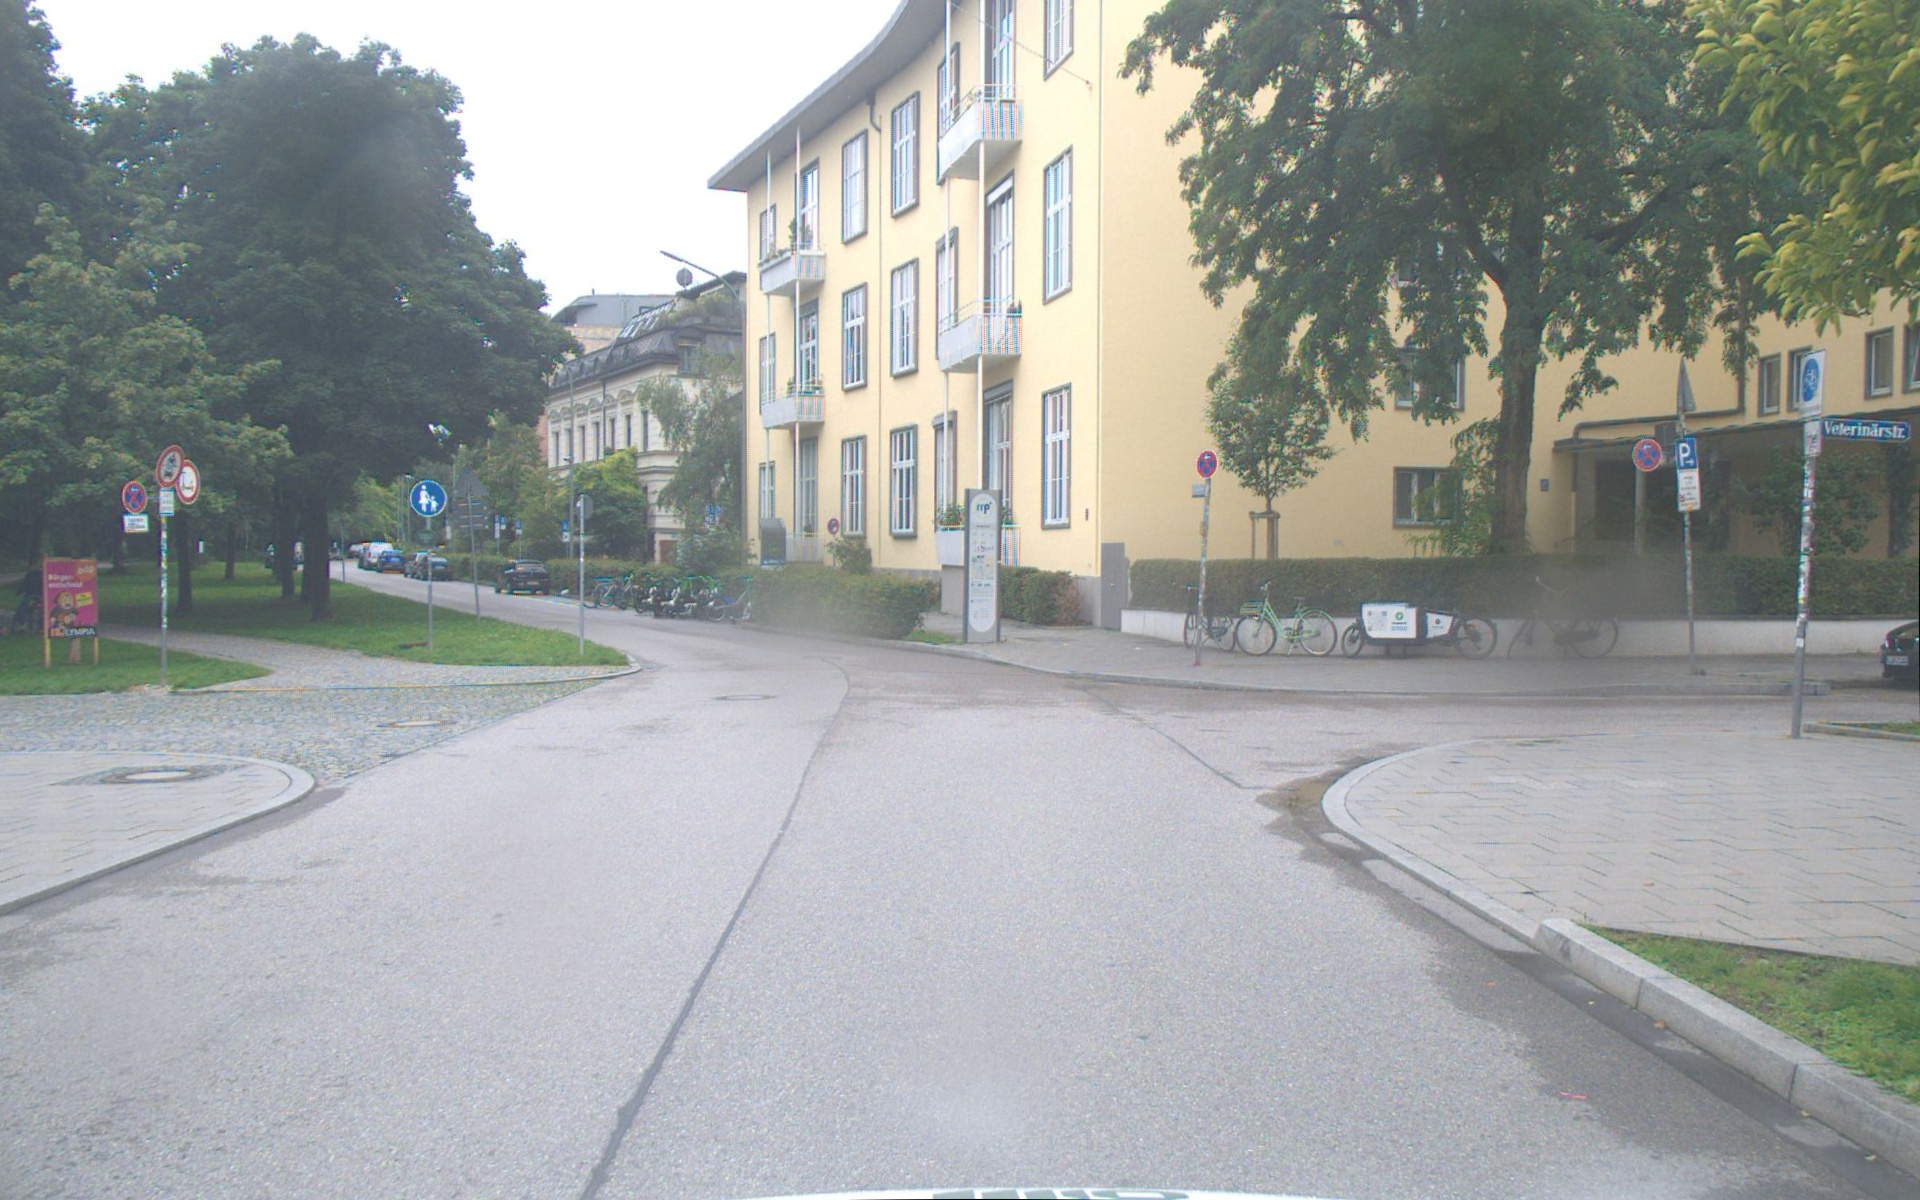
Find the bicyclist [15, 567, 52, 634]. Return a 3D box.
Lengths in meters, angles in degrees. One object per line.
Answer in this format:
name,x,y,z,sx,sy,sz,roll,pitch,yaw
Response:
bicyclist,-20.811,0.012,37.145,0.624,1.486,0.636,0,1,-39

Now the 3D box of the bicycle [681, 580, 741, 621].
bicycle,-7.027,-0.003,46.795,0.565,1.104,1.929,0,2,31

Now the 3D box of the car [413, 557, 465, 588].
car,-29.313,-1.559,92.967,2.149,1.686,4.469,-1,1,-26

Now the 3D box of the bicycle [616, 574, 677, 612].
bicycle,-9.584,-0.224,50.604,0.747,1.104,2.140,0,2,24

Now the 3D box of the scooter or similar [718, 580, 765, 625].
scooter or similar,-5.702,0.048,43.280,0.485,1.128,1.408,0,2,28

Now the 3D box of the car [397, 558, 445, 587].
car,-32.094,-1.644,98.452,2.149,1.686,4.469,-1,1,-26

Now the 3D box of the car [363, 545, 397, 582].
car,-42.098,-2.636,120.009,1.852,2.612,4.892,-1,1,-25

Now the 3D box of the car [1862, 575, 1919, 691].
car,13.971,0.382,21.242,3.894,1.460,1.606,-1,0,1

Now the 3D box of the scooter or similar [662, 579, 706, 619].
scooter or similar,-7.955,-0.031,47.732,0.485,1.107,1.408,0,2,28

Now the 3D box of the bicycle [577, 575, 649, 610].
bicycle,-11.835,-0.262,56.383,2.307,1.104,0.685,-2,2,-31

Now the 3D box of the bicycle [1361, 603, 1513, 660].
bicycle,7.186,0.461,24.943,2.164,0.792,0.610,1,1,20

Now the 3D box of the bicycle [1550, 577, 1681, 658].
bicycle,9.744,0.251,24.624,1.698,1.170,0.610,0,1,4

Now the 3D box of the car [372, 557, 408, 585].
car,-38.384,-1.937,111.364,1.852,1.847,3.968,-1,1,-25

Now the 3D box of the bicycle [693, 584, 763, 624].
bicycle,-6.252,0.108,44.583,1.802,1.023,0.572,-2,1,-28

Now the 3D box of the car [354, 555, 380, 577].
car,-46.740,-2.702,130.398,1.623,1.681,4.251,0,1,-24

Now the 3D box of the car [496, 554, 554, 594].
car,-18.448,-1.112,70.020,1.838,1.662,4.254,-1,1,-22

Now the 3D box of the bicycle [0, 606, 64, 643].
bicycle,-20.878,0.541,37.075,1.348,0.789,0.434,-1,1,-39

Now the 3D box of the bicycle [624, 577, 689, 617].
bicycle,-8.936,-0.104,48.822,0.682,1.104,2.338,0,2,24

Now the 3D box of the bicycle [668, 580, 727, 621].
bicycle,-7.502,0.002,47.366,0.565,1.104,1.929,0,2,31

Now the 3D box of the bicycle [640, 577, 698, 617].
bicycle,-8.446,-0.092,48.084,0.624,1.104,1.985,0,2,24

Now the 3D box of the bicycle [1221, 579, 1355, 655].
bicycle,5.198,0.251,26.309,0.605,1.136,2.184,-1,1,-41

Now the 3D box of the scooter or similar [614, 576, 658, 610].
scooter or similar,-10.699,-0.234,54.684,1.378,1.107,0.596,-1,1,-8

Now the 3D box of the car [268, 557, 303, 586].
car,-44.502,-1.891,109.040,1.968,1.870,3.969,-1,1,-25

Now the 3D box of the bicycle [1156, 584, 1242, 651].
bicycle,4.104,0.279,28.569,0.598,1.091,2.208,-1,1,-16
